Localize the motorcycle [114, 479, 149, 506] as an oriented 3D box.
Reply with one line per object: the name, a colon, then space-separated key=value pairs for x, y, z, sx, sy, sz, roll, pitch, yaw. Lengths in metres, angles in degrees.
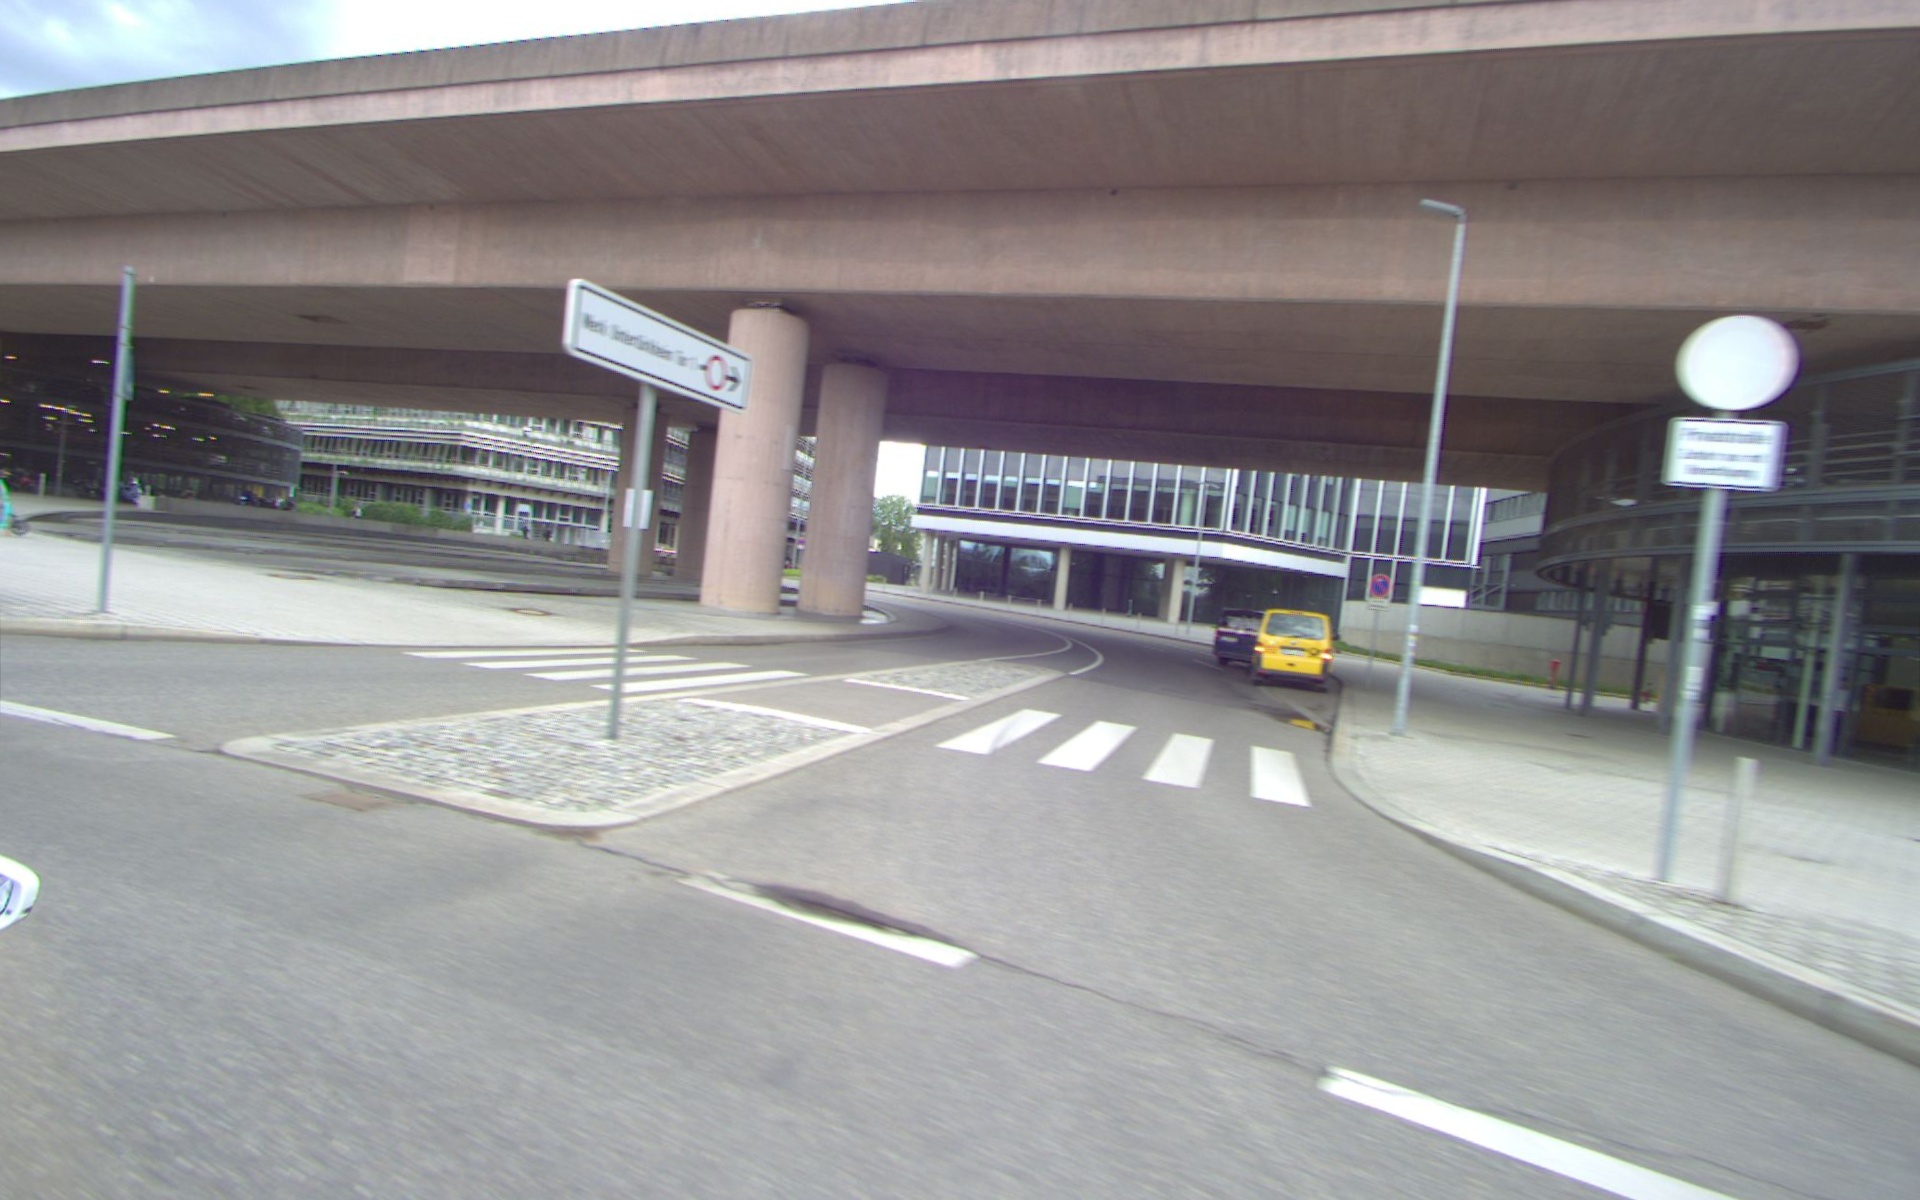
motorcycle: x=-46.478 y=-6.011 z=56.404 sx=2.042 sy=1.236 sz=0.673 roll=9 pitch=3 yaw=26

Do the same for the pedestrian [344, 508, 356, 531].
pedestrian: x=-56.411 y=-7.431 z=93.031 sx=0.564 sy=2.039 sz=0.527 roll=8 pitch=2 yaw=33

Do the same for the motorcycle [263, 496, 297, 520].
motorcycle: x=-44.064 y=-5.965 z=65.167 sx=2.321 sy=1.236 sz=0.673 roll=9 pitch=3 yaw=26

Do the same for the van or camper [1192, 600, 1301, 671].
van or camper: x=9.662 y=1.212 z=33.627 sx=2.117 sy=1.917 sz=4.889 roll=9 pitch=2 yaw=30

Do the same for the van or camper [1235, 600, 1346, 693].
van or camper: x=8.811 y=1.171 z=26.586 sx=2.319 sy=2.025 sz=4.500 roll=6 pitch=1 yaw=22

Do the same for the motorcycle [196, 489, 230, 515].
motorcycle: x=-44.216 y=-5.787 z=59.510 sx=2.042 sy=1.303 sz=0.673 roll=9 pitch=3 yaw=26

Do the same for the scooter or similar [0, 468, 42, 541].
scooter or similar: x=-18.495 y=-1.871 z=18.973 sx=0.511 sy=1.313 sz=1.641 roll=10 pitch=3 yaw=40

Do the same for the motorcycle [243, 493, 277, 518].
motorcycle: x=-44.312 y=-5.961 z=63.673 sx=2.321 sy=1.292 sz=0.673 roll=9 pitch=3 yaw=26

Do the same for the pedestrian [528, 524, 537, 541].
pedestrian: x=-38.233 y=-6.029 z=89.995 sx=0.488 sy=1.501 sz=0.543 roll=7 pitch=3 yaw=-6

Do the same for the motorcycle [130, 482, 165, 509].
motorcycle: x=-46.169 y=-5.930 z=57.150 sx=2.042 sy=1.303 sz=0.673 roll=9 pitch=3 yaw=26

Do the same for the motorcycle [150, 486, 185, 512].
motorcycle: x=-45.841 y=-5.832 z=58.178 sx=2.041 sy=1.236 sz=0.673 roll=9 pitch=3 yaw=26

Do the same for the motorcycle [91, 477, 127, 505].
motorcycle: x=-46.861 y=-6.001 z=55.404 sx=2.042 sy=1.236 sz=0.673 roll=9 pitch=3 yaw=26

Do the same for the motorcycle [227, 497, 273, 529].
motorcycle: x=-32.581 y=-3.960 z=46.176 sx=0.538 sy=1.281 sz=1.939 roll=8 pitch=2 yaw=4

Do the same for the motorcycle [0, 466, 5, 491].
motorcycle: x=-49.491 y=-6.288 z=51.676 sx=1.134 sy=1.236 sz=0.519 roll=10 pitch=4 yaw=43

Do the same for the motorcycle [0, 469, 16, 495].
motorcycle: x=-46.608 y=-5.761 z=49.010 sx=0.516 sy=1.185 sz=1.142 roll=6 pitch=0 yaw=-28

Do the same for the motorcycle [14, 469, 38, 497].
motorcycle: x=-48.435 y=-6.069 z=52.190 sx=0.826 sy=1.236 sz=2.052 roll=5 pitch=3 yaw=-43

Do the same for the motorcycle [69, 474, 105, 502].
motorcycle: x=-47.328 y=-6.058 z=54.537 sx=2.042 sy=1.236 sz=0.673 roll=9 pitch=3 yaw=26

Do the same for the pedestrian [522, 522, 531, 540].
pedestrian: x=-39.677 y=-6.310 z=92.075 sx=0.488 sy=1.501 sz=0.543 roll=7 pitch=3 yaw=-6

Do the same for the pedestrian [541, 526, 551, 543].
pedestrian: x=-37.202 y=-5.899 z=90.396 sx=0.488 sy=1.501 sz=0.543 roll=7 pitch=3 yaw=-6

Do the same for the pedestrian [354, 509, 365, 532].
pedestrian: x=-55.672 y=-7.336 z=93.259 sx=0.564 sy=2.039 sz=0.527 roll=8 pitch=2 yaw=33
